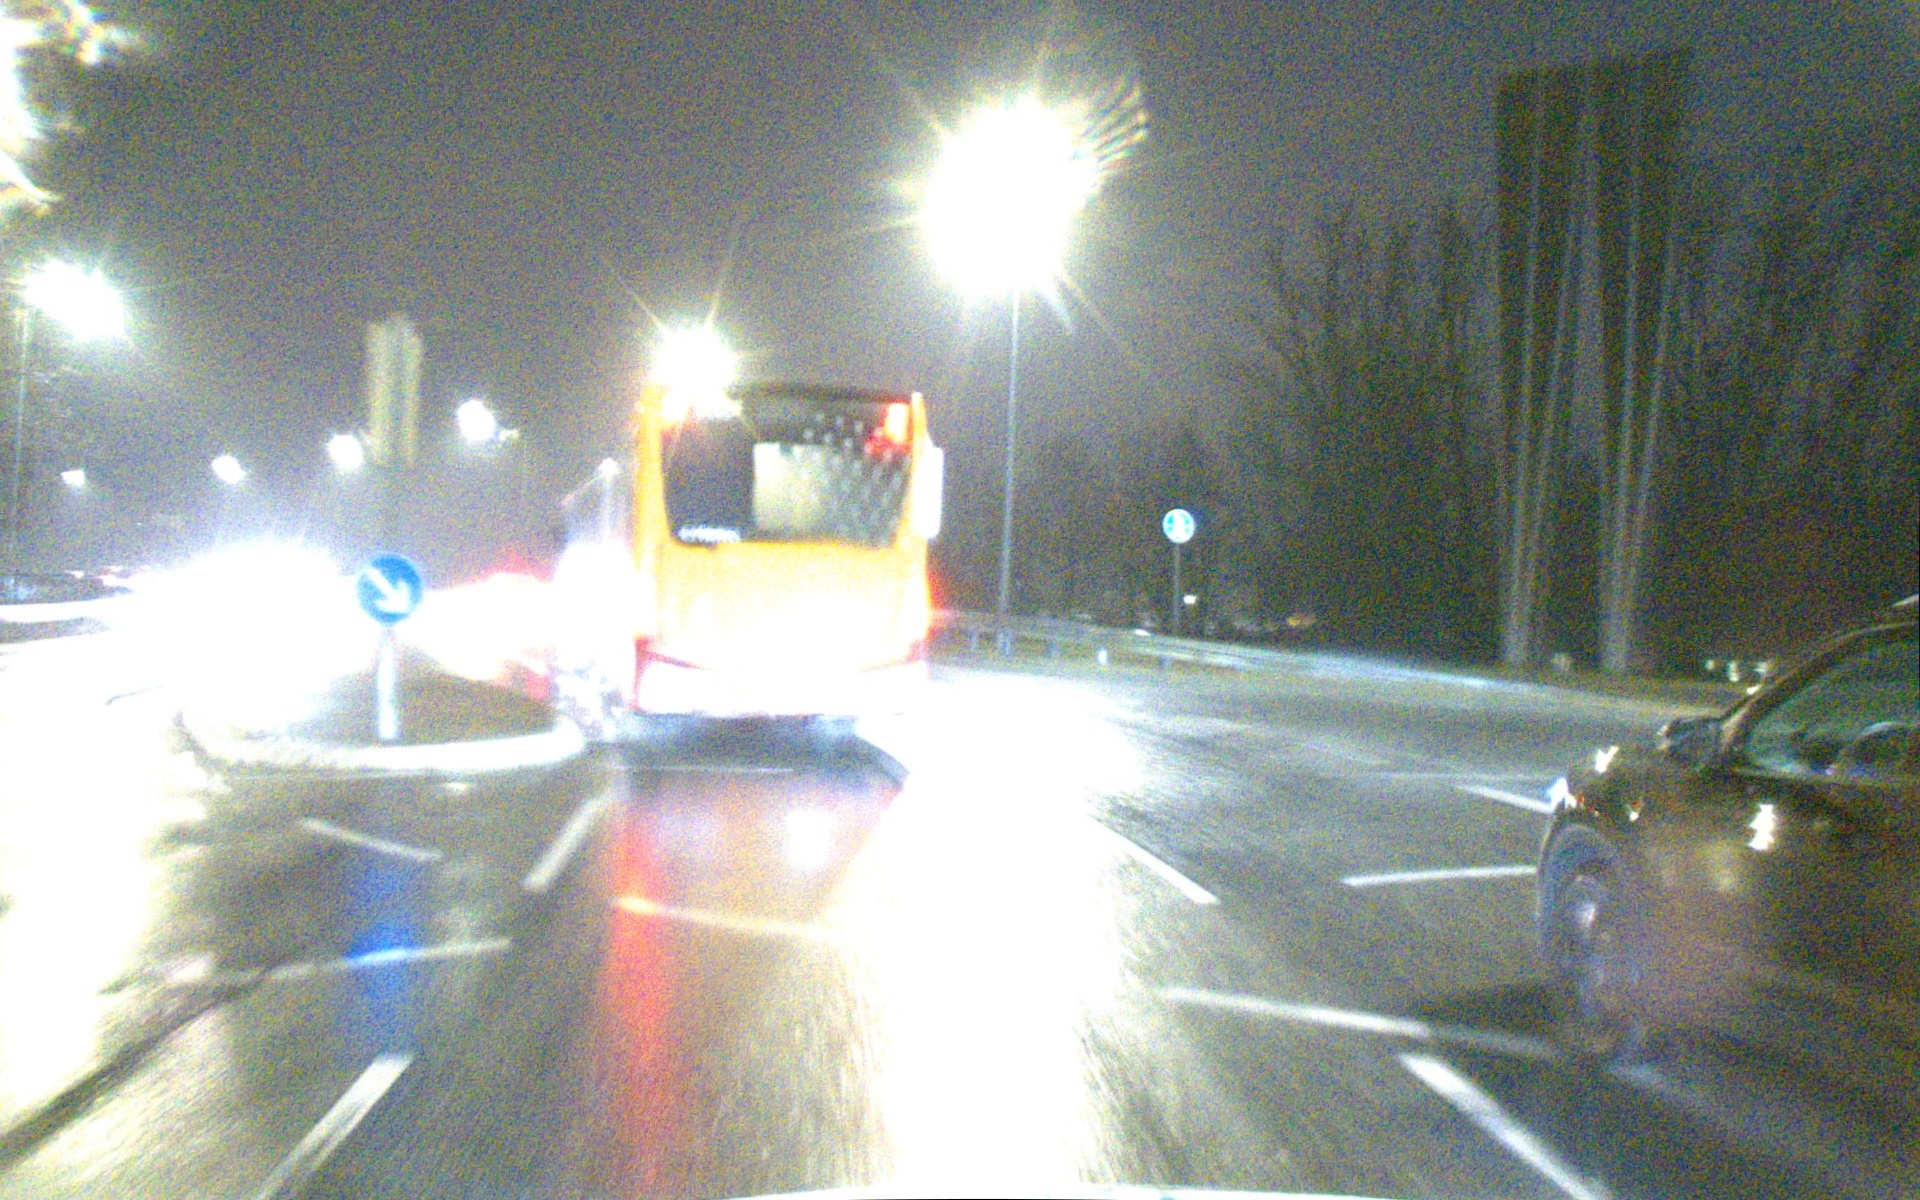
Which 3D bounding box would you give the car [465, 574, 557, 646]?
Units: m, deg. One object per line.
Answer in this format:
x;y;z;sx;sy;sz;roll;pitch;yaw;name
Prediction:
-13.838;0.310;50.817;1.969;2.049;4.313;2;-1;-25;car

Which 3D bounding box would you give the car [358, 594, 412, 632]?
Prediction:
-26.320;0.576;75.651;1.794;1.646;3.965;3;-1;-27;car

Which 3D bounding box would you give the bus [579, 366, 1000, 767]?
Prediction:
-2.382;-0.500;17.824;3.229;3.102;9.514;1;3;-14;bus

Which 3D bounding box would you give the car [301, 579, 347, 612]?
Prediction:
-33.716;-0.219;87.668;1.795;1.646;3.964;3;-1;-28;car

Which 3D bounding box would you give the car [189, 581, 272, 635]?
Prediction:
-21.487;0.242;48.857;1.796;1.474;4.633;2;-1;-19;car

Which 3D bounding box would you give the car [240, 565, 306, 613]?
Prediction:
-25.316;-0.423;61.053;1.852;1.635;4.637;1;0;-18;car

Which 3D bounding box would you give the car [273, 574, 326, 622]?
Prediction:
-30.089;-0.108;75.331;1.968;2.049;4.314;1;0;-25;car

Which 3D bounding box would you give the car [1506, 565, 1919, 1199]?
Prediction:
3.049;0.722;4.210;1.645;1.548;3.954;2;-1;-6;car

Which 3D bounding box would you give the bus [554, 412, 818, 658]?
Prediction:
-4.704;-0.955;26.601;3.194;3.174;8.609;2;1;-16;bus
